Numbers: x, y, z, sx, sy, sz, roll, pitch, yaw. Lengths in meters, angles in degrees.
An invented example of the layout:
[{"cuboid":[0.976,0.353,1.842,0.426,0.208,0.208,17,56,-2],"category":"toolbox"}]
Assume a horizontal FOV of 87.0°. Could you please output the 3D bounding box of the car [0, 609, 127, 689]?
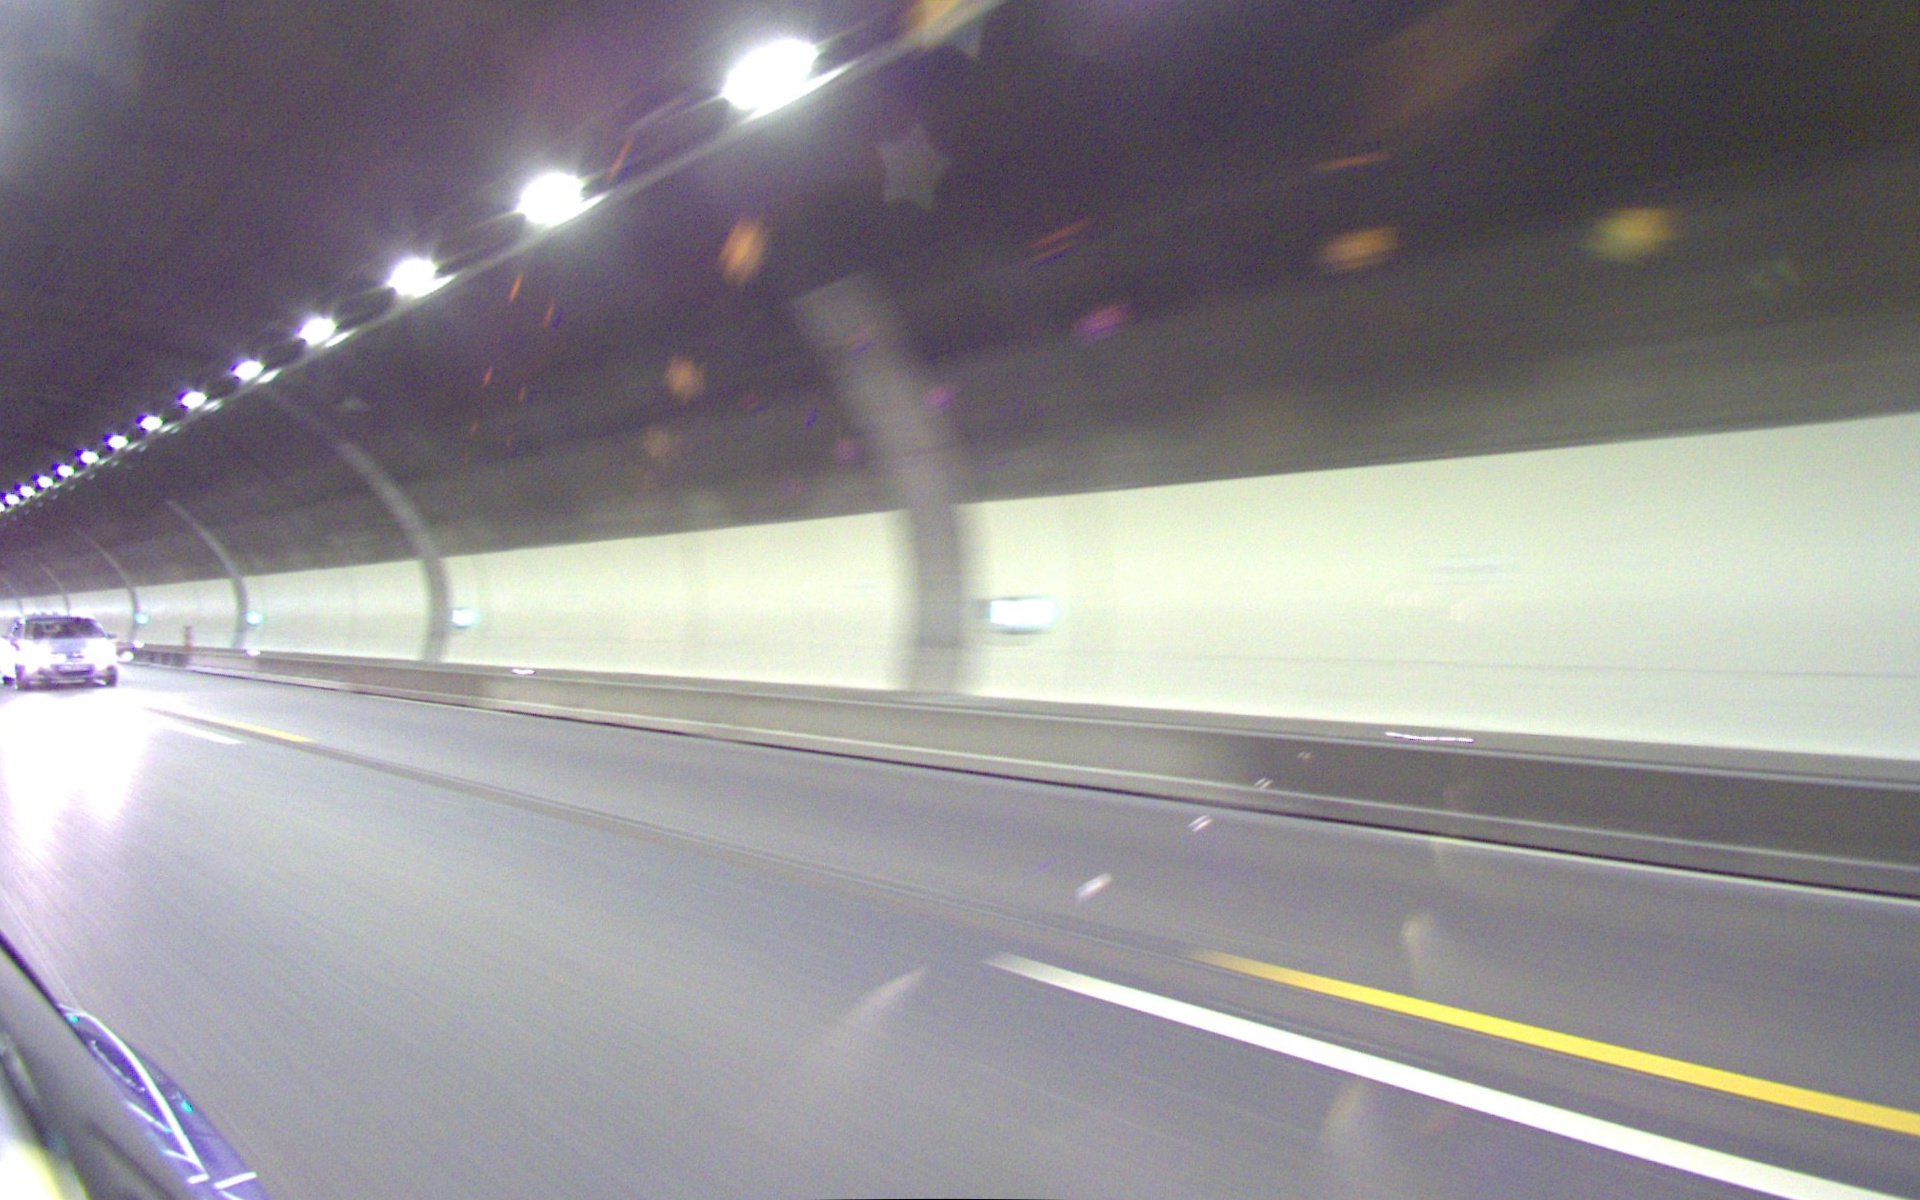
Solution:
[{"cuboid":[-19.811,1.002,22.140,4.094,1.584,1.744,-1,0,40],"category":"car"}]
